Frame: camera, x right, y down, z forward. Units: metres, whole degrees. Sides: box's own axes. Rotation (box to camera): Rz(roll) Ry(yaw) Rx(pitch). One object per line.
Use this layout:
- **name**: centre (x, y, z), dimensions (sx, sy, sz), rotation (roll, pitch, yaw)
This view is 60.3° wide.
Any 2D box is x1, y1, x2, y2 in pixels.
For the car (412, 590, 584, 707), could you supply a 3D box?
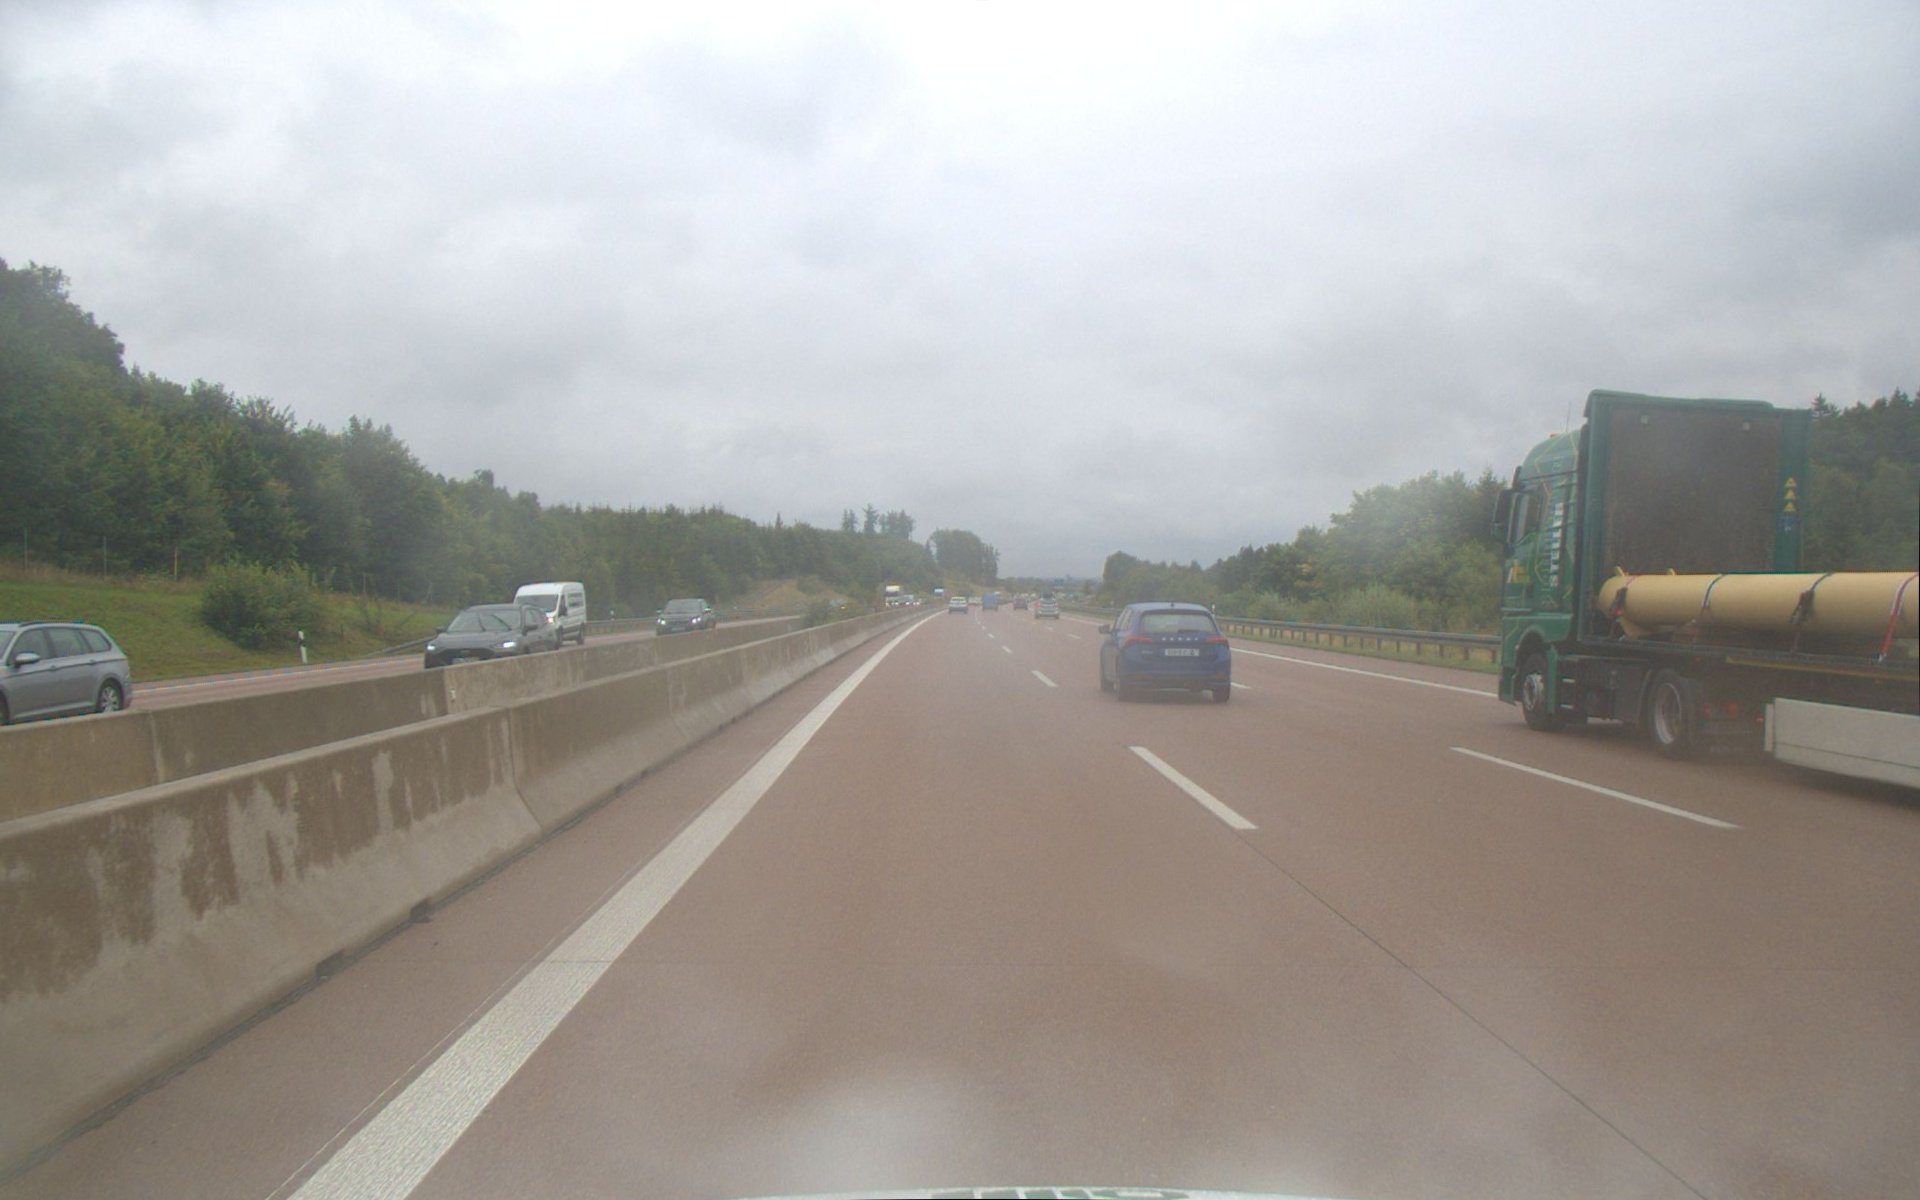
- **car**: centre (-8.896, 0.920, 32.357), dimensions (1.953, 2.049, 5.523), rotation (1, -1, -2)

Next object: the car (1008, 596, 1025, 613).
- **car**: centre (7.344, 0.569, 213.679), dimensions (1.953, 2.049, 3.998), rotation (1, -1, -1)

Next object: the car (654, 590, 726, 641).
- **car**: centre (-10.140, 0.552, 62.425), dimensions (1.953, 1.859, 4.686), rotation (0, 0, 0)

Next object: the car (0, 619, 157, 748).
- **car**: centre (-11.901, 1.024, 20.494), dimensions (1.616, 1.414, 4.809), rotation (-3, 0, -2)

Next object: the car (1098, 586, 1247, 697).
- **car**: centre (3.278, 0.650, 26.180), dimensions (1.735, 1.591, 4.145), rotation (1, -1, -1)

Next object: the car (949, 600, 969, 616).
- **car**: centre (-0.106, 0.781, 160.406), dimensions (1.836, 1.470, 4.876), rotation (1, -1, -1)

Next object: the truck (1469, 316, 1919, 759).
- **truck**: centre (8.323, -0.504, 18.667), dimensions (2.838, 4.034, 6.986), rotation (1, -1, -1)

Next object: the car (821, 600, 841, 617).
- **car**: centre (-12.972, 0.823, 166.286), dimensions (1.681, 1.610, 4.315), rotation (-1, -1, -1)

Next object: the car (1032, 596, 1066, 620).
- **car**: centre (6.843, 0.623, 127.282), dimensions (2.275, 1.780, 4.875), rotation (1, -1, -1)

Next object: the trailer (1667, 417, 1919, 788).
- **trailer**: centre (8.496, 0.007, 10.658), dimensions (2.823, 2.722, 11.394), rotation (1, -1, -1)

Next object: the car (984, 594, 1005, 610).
- **car**: centre (4.095, 0.302, 196.209), dimensions (2.275, 1.780, 4.875), rotation (1, -1, -1)

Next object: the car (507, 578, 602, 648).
- **car**: centre (-16.186, 0.556, 66.389), dimensions (2.178, 2.630, 6.254), rotation (1, -1, 0)
